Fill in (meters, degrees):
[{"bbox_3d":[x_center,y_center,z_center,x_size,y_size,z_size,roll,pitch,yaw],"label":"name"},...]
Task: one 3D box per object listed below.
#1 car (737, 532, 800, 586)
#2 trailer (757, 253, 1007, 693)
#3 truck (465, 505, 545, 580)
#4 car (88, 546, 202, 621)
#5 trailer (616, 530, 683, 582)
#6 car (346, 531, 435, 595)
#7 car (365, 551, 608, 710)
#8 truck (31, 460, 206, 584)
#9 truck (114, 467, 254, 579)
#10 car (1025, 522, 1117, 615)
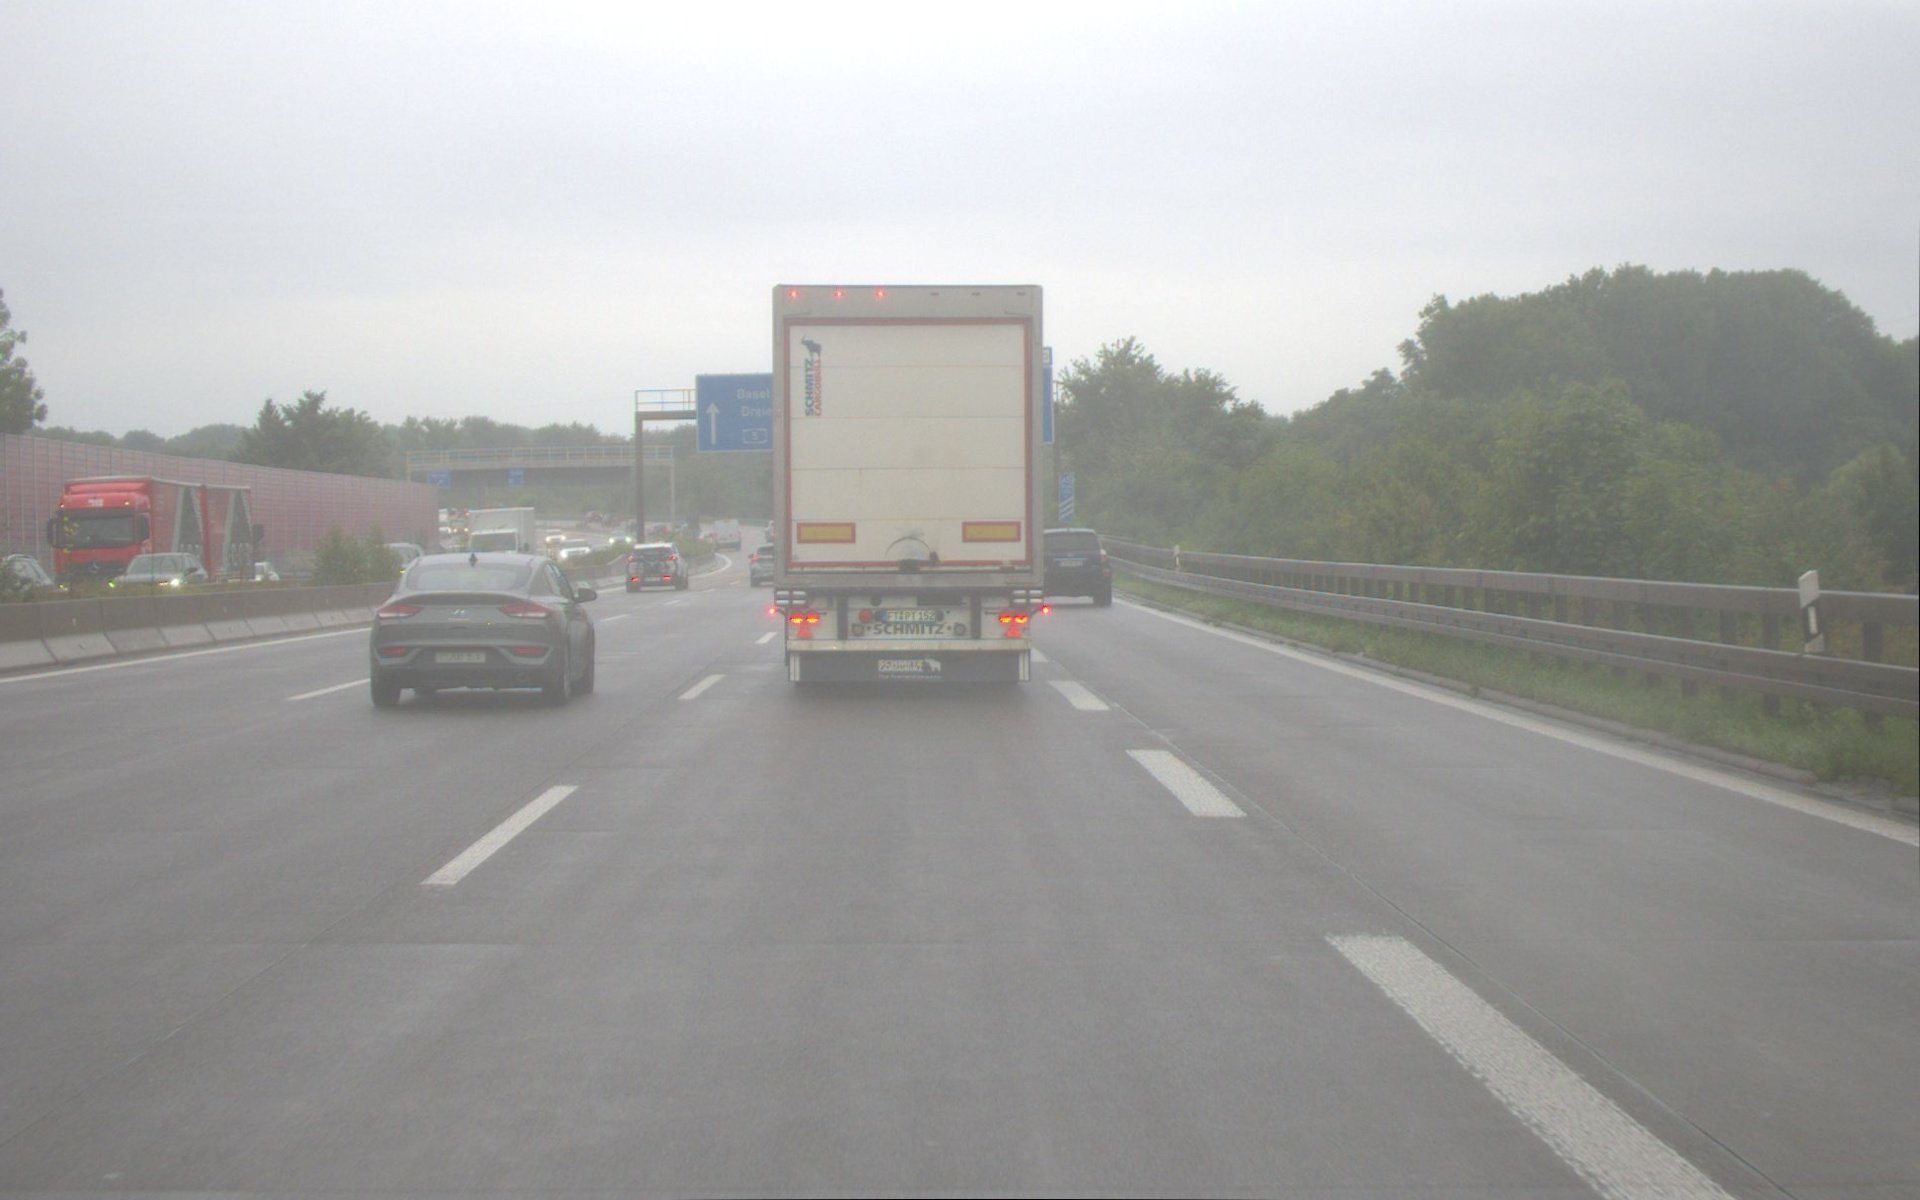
[{"bbox_3d":[-6.347,-1.377,114.032,1.894,1.717,4.000,1,1,-1],"label":"car"},{"bbox_3d":[-0.818,-1.385,39.940,2.342,4.143,14.828,0,1,-1],"label":"trailer"},{"bbox_3d":[-17.733,-2.252,134.245,2.266,2.819,7.280,1,1,-1],"label":"truck"},{"bbox_3d":[-21.128,-0.454,89.332,1.993,1.853,4.390,0,1,-1],"label":"car"},{"bbox_3d":[-10.095,-1.455,112.069,1.815,1.619,4.568,0,1,-1],"label":"trailer"},{"bbox_3d":[-16.902,-1.111,102.167,1.993,1.853,4.390,0,1,-1],"label":"car"},{"bbox_3d":[-4.458,0.236,32.989,1.725,1.398,4.829,0,1,-1],"label":"car"},{"bbox_3d":[-24.899,-2.311,102.293,2.780,3.478,10.619,0,1,-1],"label":"truck"},{"bbox_3d":[-25.160,-2.488,111.831,2.780,3.478,8.495,0,1,-1],"label":"truck"},{"bbox_3d":[2.393,-0.708,74.986,1.897,1.943,4.000,1,1,1],"label":"car"}]
